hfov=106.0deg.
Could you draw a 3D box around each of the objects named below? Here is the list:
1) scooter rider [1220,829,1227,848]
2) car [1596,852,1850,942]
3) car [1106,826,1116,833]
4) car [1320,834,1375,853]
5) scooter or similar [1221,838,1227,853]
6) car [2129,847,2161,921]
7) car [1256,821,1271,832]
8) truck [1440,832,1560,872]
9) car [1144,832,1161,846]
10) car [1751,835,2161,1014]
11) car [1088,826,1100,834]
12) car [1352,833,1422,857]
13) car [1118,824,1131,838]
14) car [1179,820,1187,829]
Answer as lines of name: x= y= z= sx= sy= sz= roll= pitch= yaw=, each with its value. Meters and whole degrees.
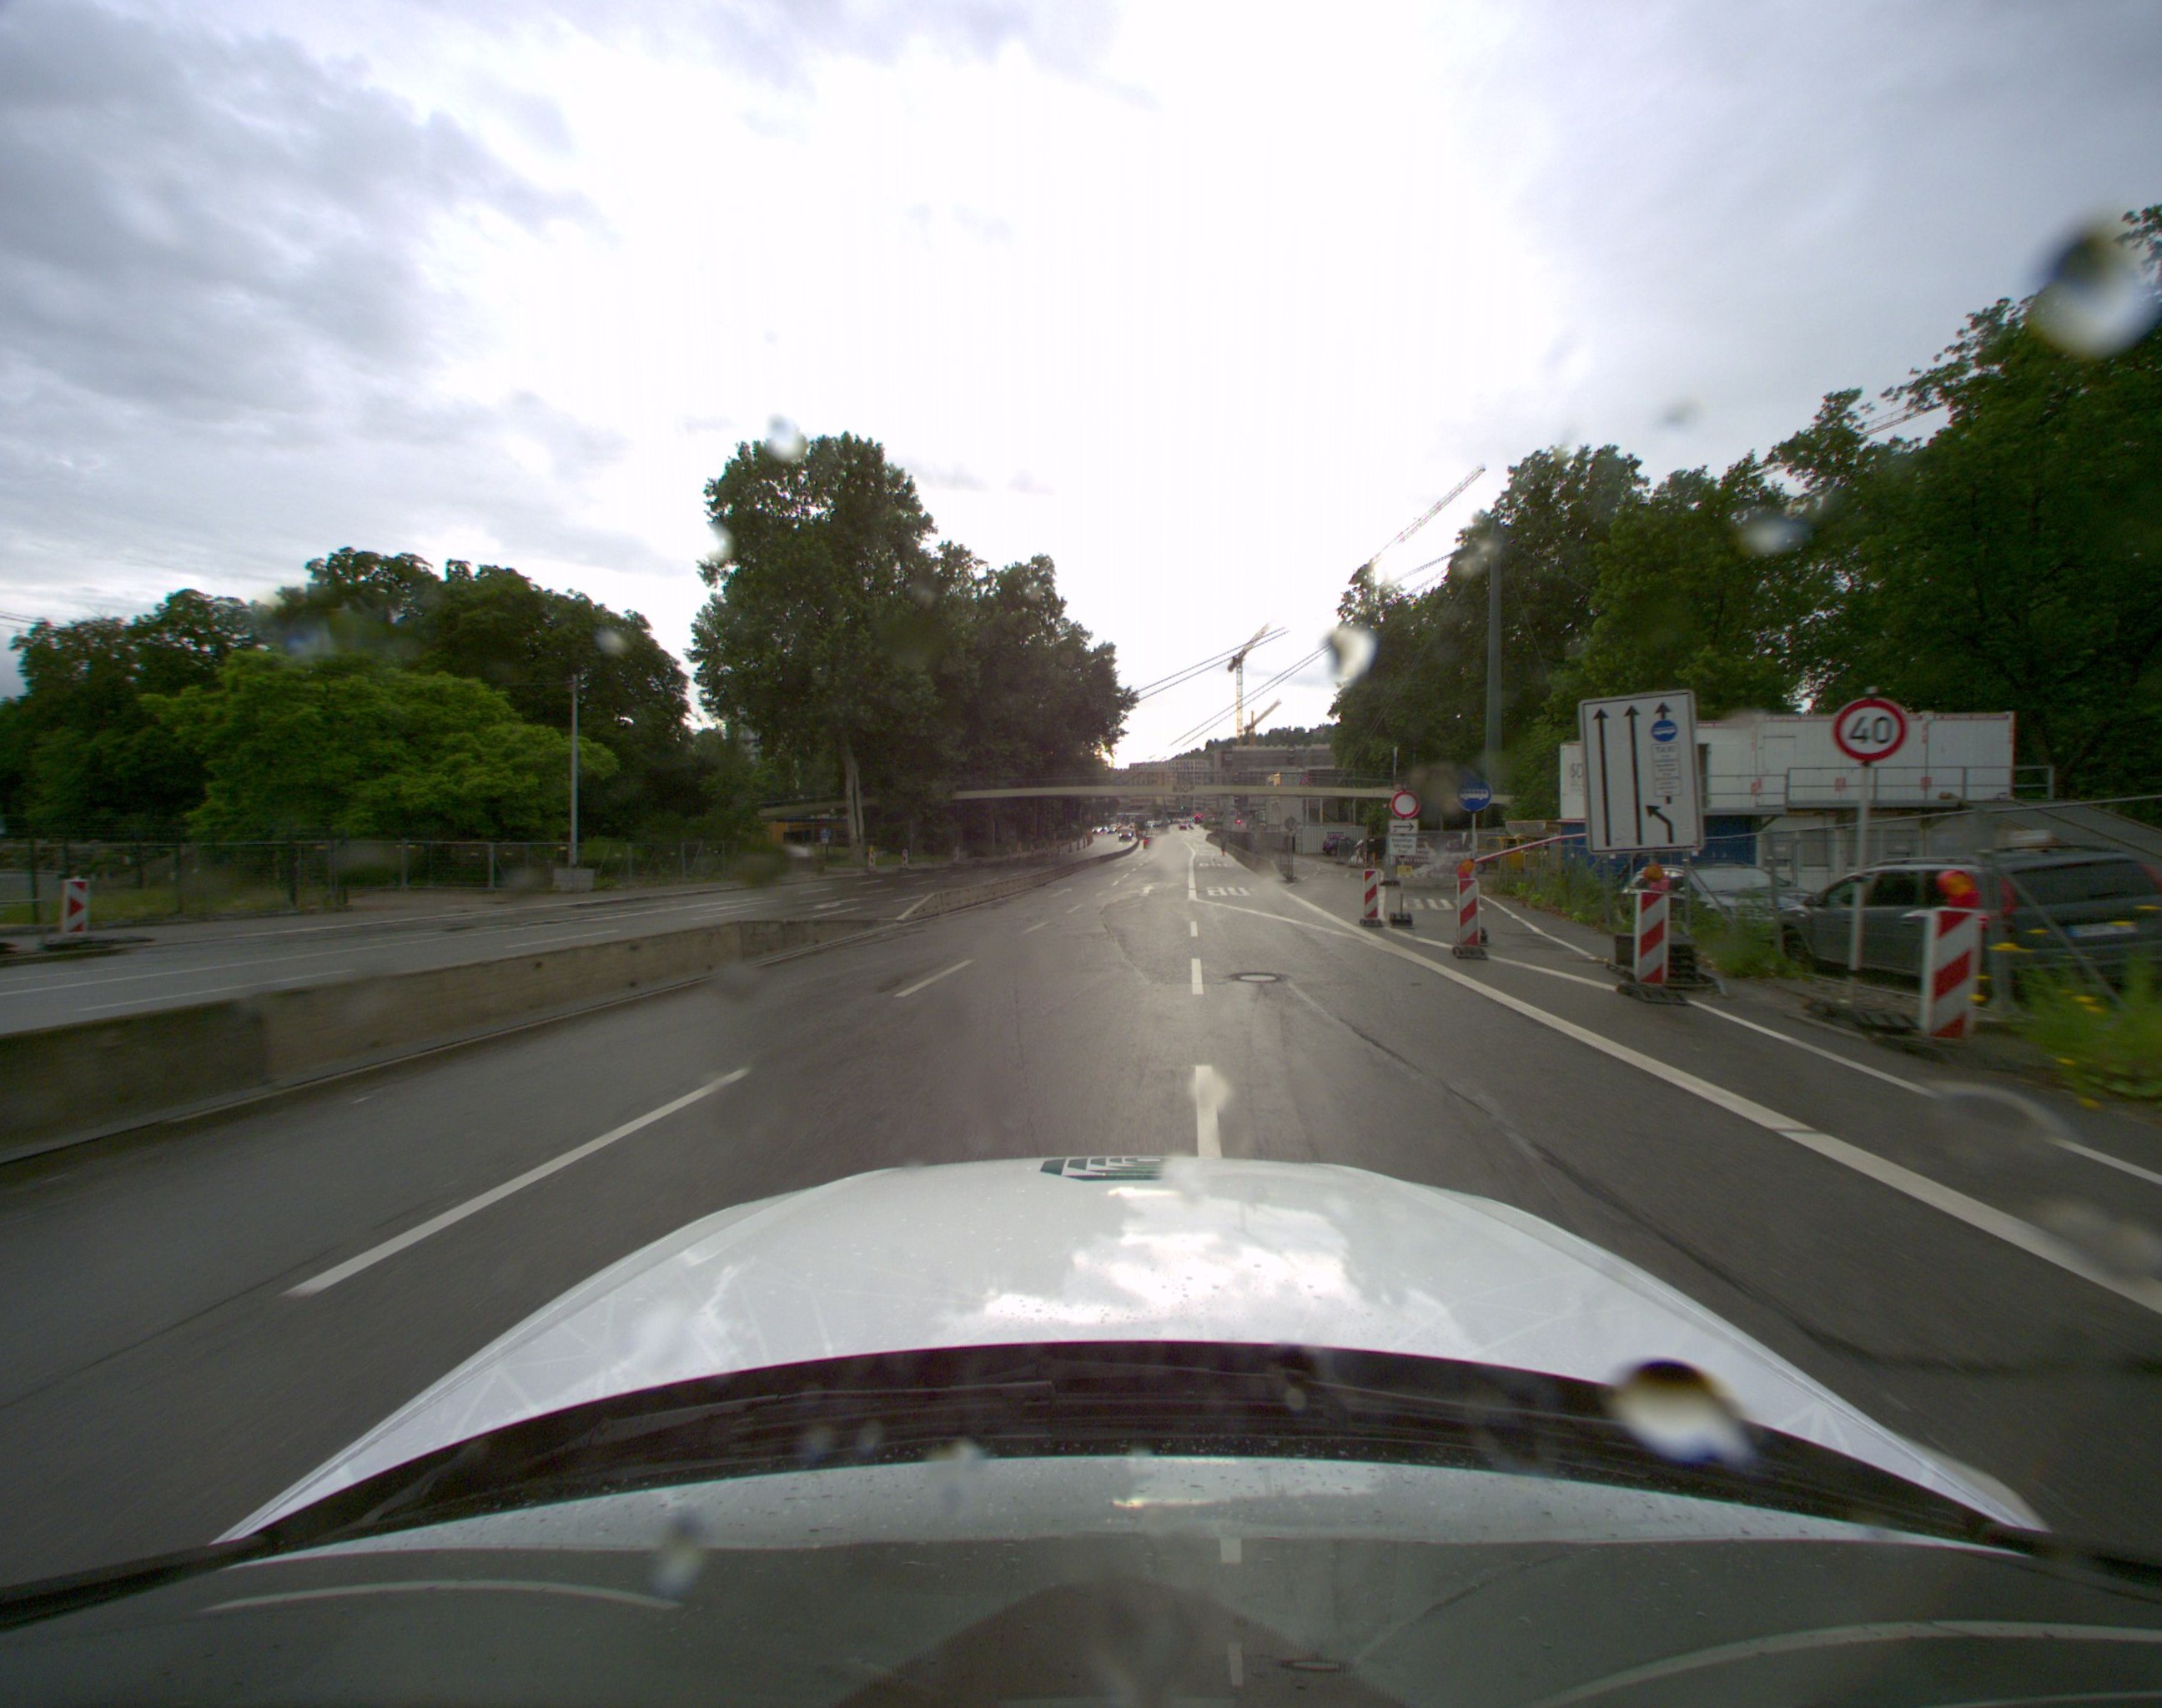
scooter rider: x=13.312 y=-1.459 z=75.945 sx=0.594 sy=1.785 sz=1.000 roll=0 pitch=2 yaw=9
car: x=12.407 y=0.828 z=16.140 sx=1.845 sy=1.485 sz=3.999 roll=-2 pitch=-2 yaw=0
car: x=6.616 y=-5.467 z=180.948 sx=1.708 sy=1.338 sz=4.058 roll=-7 pitch=1 yaw=-3
car: x=24.401 y=-0.940 z=74.682 sx=4.521 sy=1.628 sz=1.791 roll=0 pitch=3 yaw=4
scooter or similar: x=13.330 y=-0.788 z=75.980 sx=0.594 sy=1.319 sz=1.672 roll=0 pitch=2 yaw=9
car: x=19.986 y=0.545 z=12.893 sx=1.706 sy=1.306 sz=4.000 roll=1 pitch=0 yaw=0
car: x=34.835 y=-5.252 z=155.706 sx=1.905 sy=1.974 sz=5.166 roll=0 pitch=2 yaw=1
truck: x=21.969 y=-0.101 z=42.868 sx=5.136 sy=2.013 sz=2.409 roll=-1 pitch=0 yaw=0
car: x=8.407 y=-1.724 z=96.308 sx=1.893 sy=1.528 sz=4.182 roll=-2 pitch=0 yaw=4
car: x=10.789 y=0.689 z=10.211 sx=1.907 sy=1.649 sz=4.431 roll=-5 pitch=-1 yaw=15
car: x=2.929 y=-5.293 z=180.853 sx=2.030 sy=1.653 sz=4.307 roll=-2 pitch=3 yaw=-9
car: x=22.530 y=-0.689 z=60.130 sx=4.481 sy=1.728 sz=2.001 roll=0 pitch=1 yaw=2
car: x=6.758 y=-3.523 z=126.657 sx=2.022 sy=1.936 sz=5.047 roll=-2 pitch=0 yaw=3
car: x=25.370 y=-7.299 z=202.526 sx=1.982 sy=2.013 sz=4.009 roll=-2 pitch=0 yaw=8
